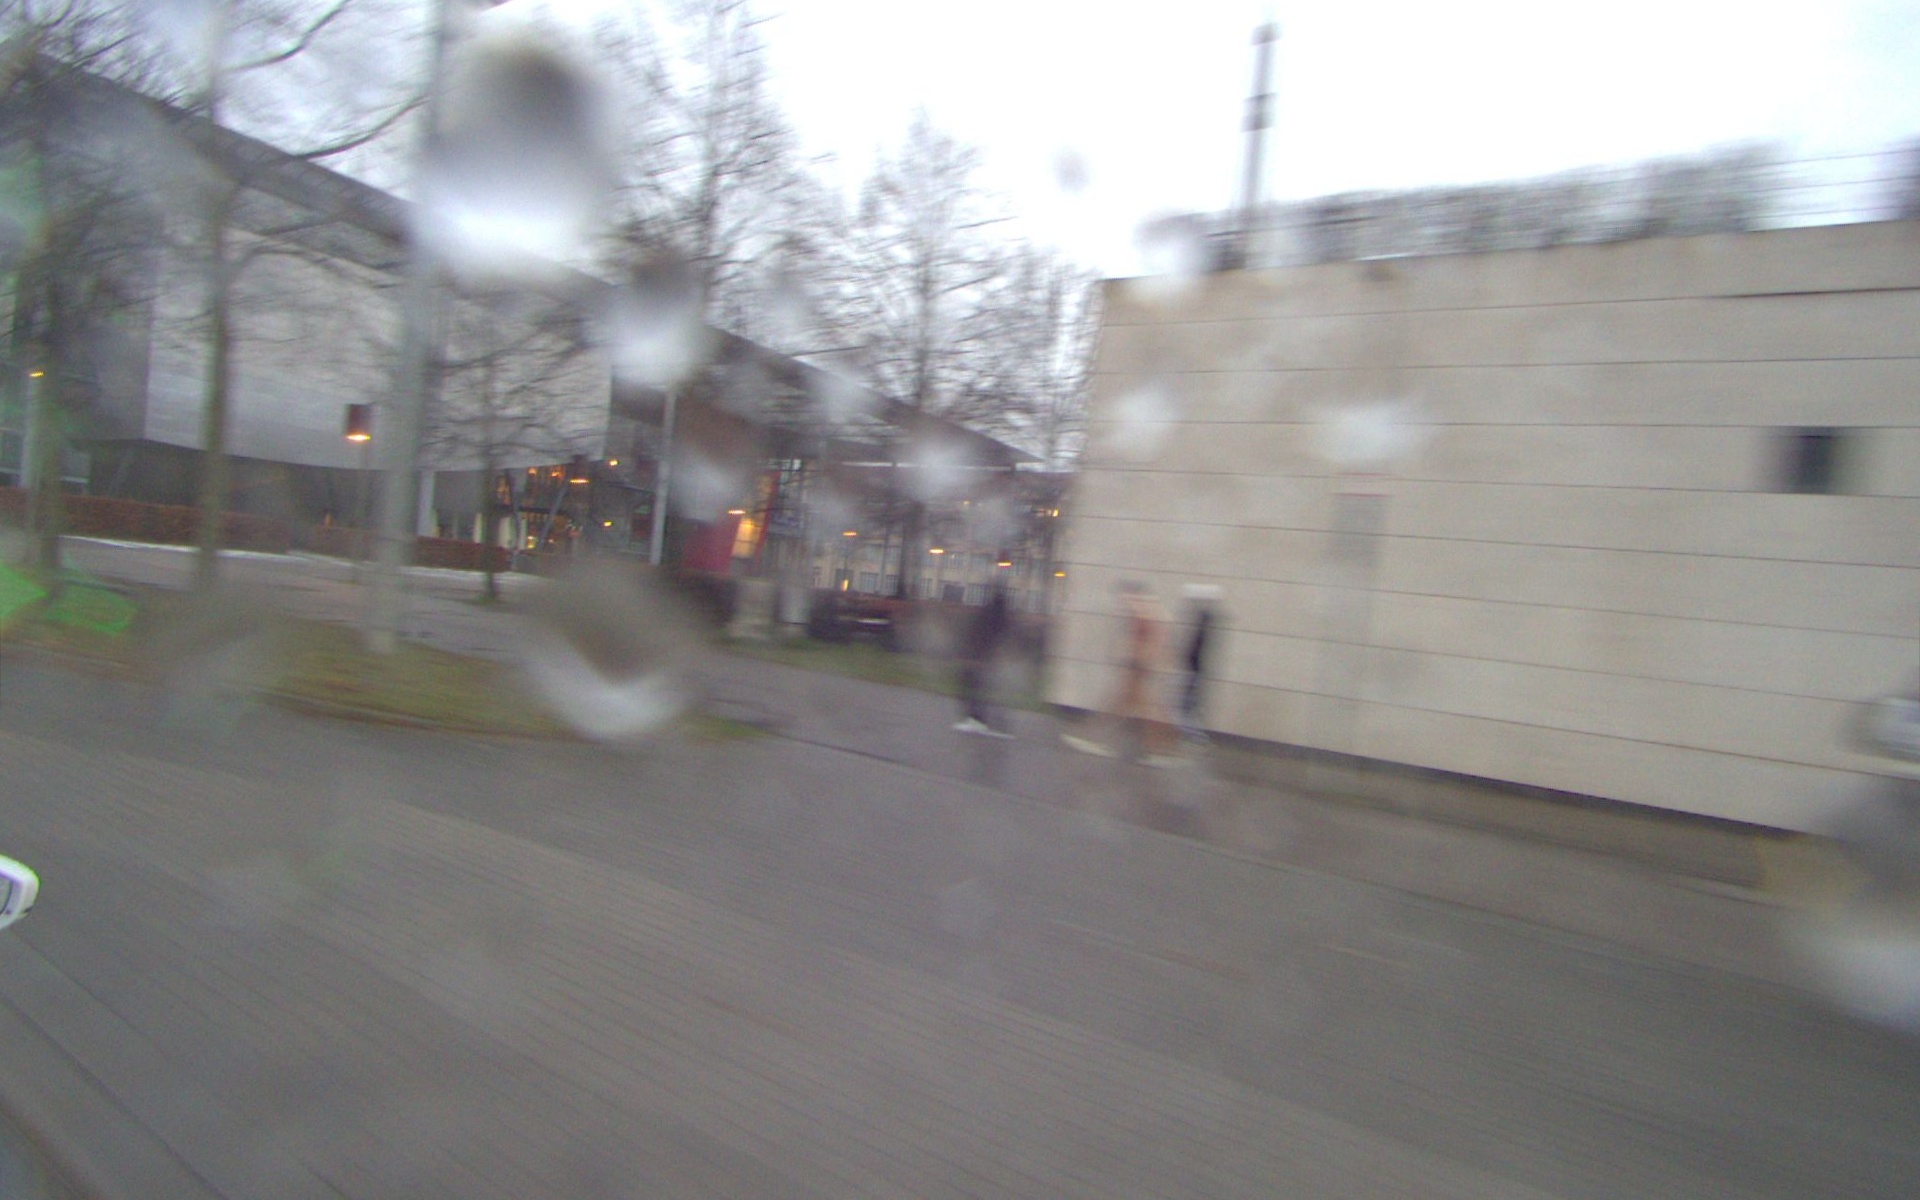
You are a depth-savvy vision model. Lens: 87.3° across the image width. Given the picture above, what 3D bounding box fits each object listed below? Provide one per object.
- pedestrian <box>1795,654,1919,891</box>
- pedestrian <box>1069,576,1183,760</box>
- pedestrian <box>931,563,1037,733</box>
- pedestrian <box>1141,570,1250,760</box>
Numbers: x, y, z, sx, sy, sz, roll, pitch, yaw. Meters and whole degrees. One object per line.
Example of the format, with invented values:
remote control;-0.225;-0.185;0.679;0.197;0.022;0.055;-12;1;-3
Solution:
pedestrian;7.177;1.298;7.663;0.977;1.676;0.668;6;1;26
pedestrian;1.570;0.643;9.524;0.671;1.631;0.606;8;-1;-45
pedestrian;0.248;0.496;10.333;0.671;1.644;0.607;8;-1;-43
pedestrian;2.365;0.651;10.097;0.606;1.799;0.671;6;-1;45
